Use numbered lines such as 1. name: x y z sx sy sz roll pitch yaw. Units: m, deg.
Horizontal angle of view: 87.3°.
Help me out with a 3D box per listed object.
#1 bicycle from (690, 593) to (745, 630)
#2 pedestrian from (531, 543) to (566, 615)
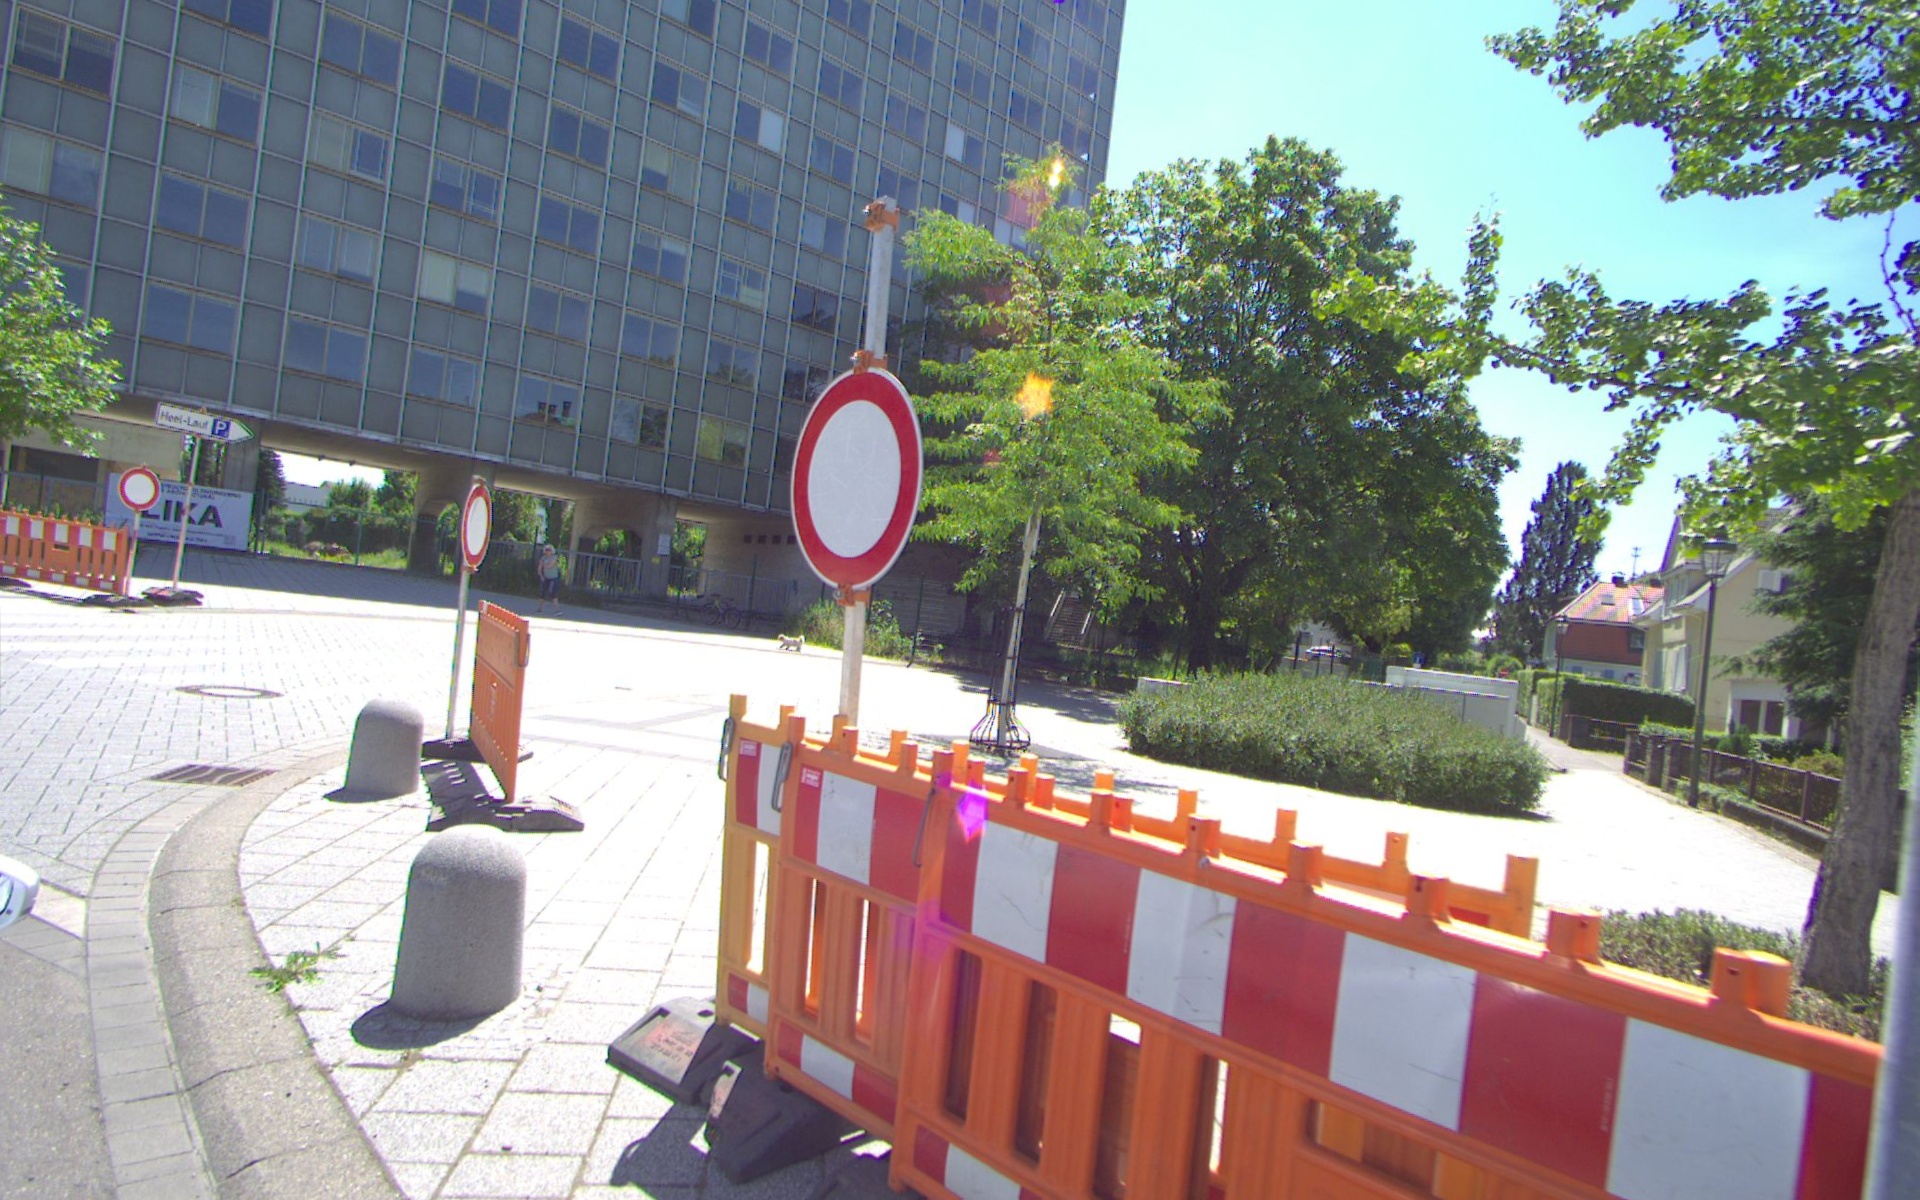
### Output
1. bicycle: -7.400 0.347 30.655 1.725 0.918 0.447 6 0 32
2. pedestrian: -10.281 -0.526 25.151 0.560 1.730 0.482 7 3 -32
